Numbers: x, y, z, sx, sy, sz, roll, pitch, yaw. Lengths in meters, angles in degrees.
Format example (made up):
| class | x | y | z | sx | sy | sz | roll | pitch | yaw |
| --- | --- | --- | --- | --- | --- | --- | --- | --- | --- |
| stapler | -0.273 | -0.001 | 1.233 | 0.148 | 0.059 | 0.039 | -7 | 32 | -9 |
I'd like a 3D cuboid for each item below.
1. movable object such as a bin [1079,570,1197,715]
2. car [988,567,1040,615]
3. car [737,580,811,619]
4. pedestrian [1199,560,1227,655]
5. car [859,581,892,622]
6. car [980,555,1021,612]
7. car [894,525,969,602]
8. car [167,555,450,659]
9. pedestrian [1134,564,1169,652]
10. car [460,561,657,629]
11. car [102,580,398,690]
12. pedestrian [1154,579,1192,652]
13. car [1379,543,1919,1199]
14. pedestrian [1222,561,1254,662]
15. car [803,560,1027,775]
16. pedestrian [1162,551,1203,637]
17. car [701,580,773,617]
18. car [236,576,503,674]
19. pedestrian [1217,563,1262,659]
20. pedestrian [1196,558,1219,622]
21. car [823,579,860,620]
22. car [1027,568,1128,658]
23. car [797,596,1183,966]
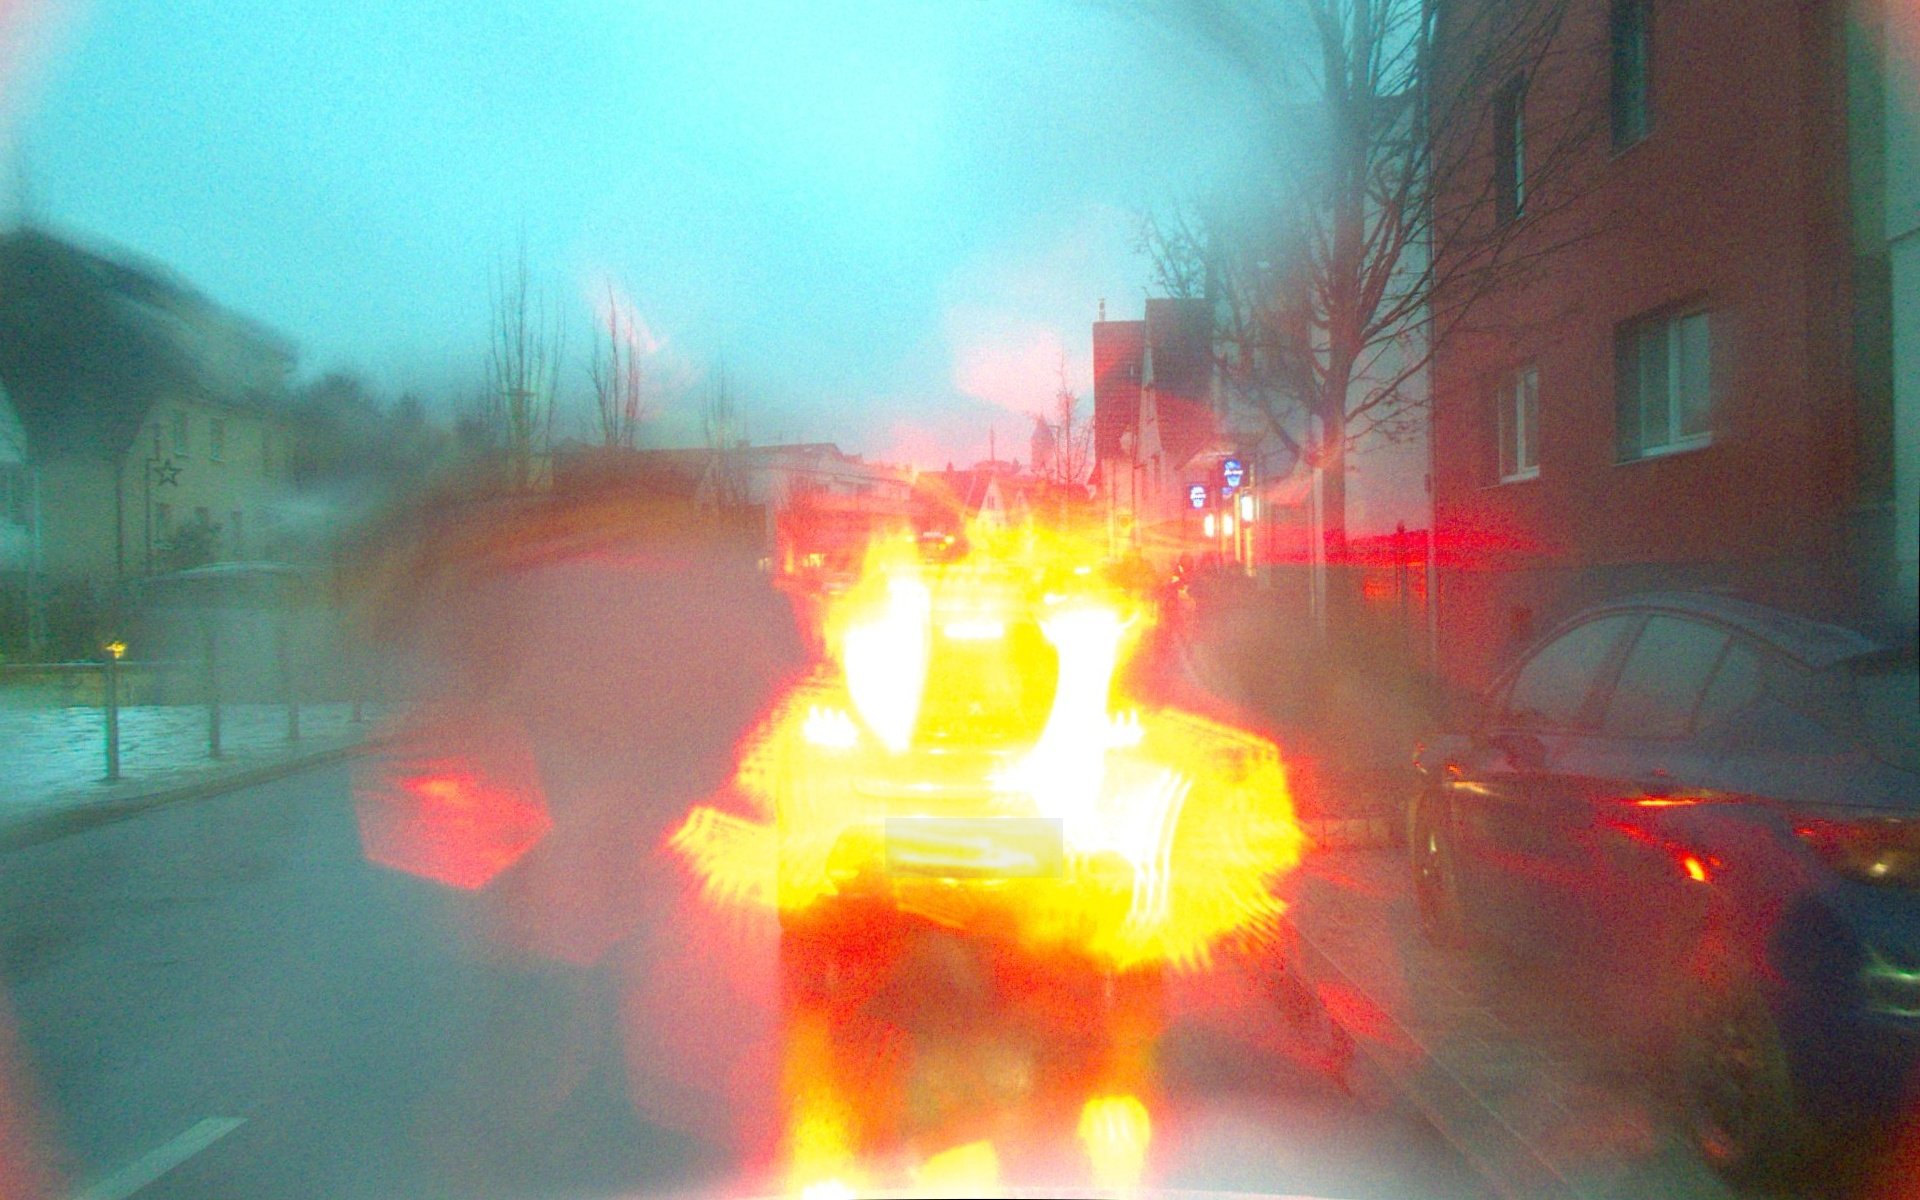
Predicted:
| class | x | y | z | sx | sy | sz | roll | pitch | yaw |
| --- | --- | --- | --- | --- | --- | --- | --- | --- | --- |
| movable object such as a bin | 1.943 | 0.440 | 18.290 | 1.106 | 1.445 | 1.418 | -4 | 1 | 1 |
| car | 2.135 | -0.363 | 66.637 | 1.957 | 1.897 | 4.082 | 0 | 0 | 0 |
| car | -10.810 | -0.009 | 96.064 | 4.310 | 2.204 | 1.987 | -1 | -2 | 44 |
| pedestrian | 4.982 | 0.134 | 32.558 | 0.517 | 1.831 | 0.865 | 0 | 1 | 9 |
| car | -4.942 | 0.111 | 97.178 | 1.881 | 2.254 | 3.973 | 1 | -2 | -3 |
| car | 1.906 | -0.745 | 78.953 | 1.832 | 2.512 | 4.443 | 1 | -2 | 1 |
| car | -1.284 | -1.551 | 73.342 | 3.126 | 3.085 | 6.302 | 1 | -2 | -1 |
| car | -10.054 | 0.096 | 25.670 | 3.713 | 1.549 | 1.716 | 0 | 0 | 6 |
| pedestrian | 3.848 | 0.153 | 33.232 | 0.561 | 1.729 | 0.653 | -2 | 0 | 1 |
| car | -10.124 | -0.125 | 41.982 | 4.533 | 1.697 | 1.999 | 0 | 0 | -3 |
| car | -9.762 | 0.457 | 22.911 | 3.375 | 1.396 | 1.600 | -1 | 1 | -2 |
| pedestrian | 5.004 | 0.355 | 38.913 | 0.607 | 1.655 | 0.903 | -1 | 2 | -14 |
| car | 2.741 | 0.600 | 5.416 | 1.693 | 1.490 | 4.200 | -3 | 1 | 1 |
| pedestrian | 4.702 | 0.205 | 27.964 | 0.517 | 1.682 | 0.954 | 0 | -2 | 9 |
| car | -0.375 | 0.496 | 14.687 | 1.730 | 1.657 | 3.585 | 1 | 1 | -1 |
| pedestrian | 4.637 | -0.145 | 34.432 | 0.697 | 1.745 | 1.035 | -2 | 1 | 13 |
| car | -12.459 | -0.054 | 92.360 | 4.097 | 2.011 | 1.810 | -1 | -2 | 44 |
| car | -10.102 | 0.409 | 28.450 | 4.008 | 1.636 | 1.588 | 0 | 0 | 2 |
| pedestrian | 5.097 | 0.211 | 30.242 | 0.731 | 1.708 | 1.052 | 0 | -2 | 5 |
| pedestrian | 6.869 | -0.265 | 45.919 | 0.605 | 1.757 | 0.502 | 0 | -2 | 11 |
| car | -6.382 | -0.014 | 89.264 | 1.881 | 2.063 | 3.973 | 1 | -2 | -3 |
| car | 2.393 | 0.232 | 34.652 | 1.700 | 1.722 | 4.385 | -1 | 0 | -1 |
| car | 0.105 | 0.724 | 8.135 | 1.531 | 1.437 | 3.017 | 1 | 1 | -1 |
